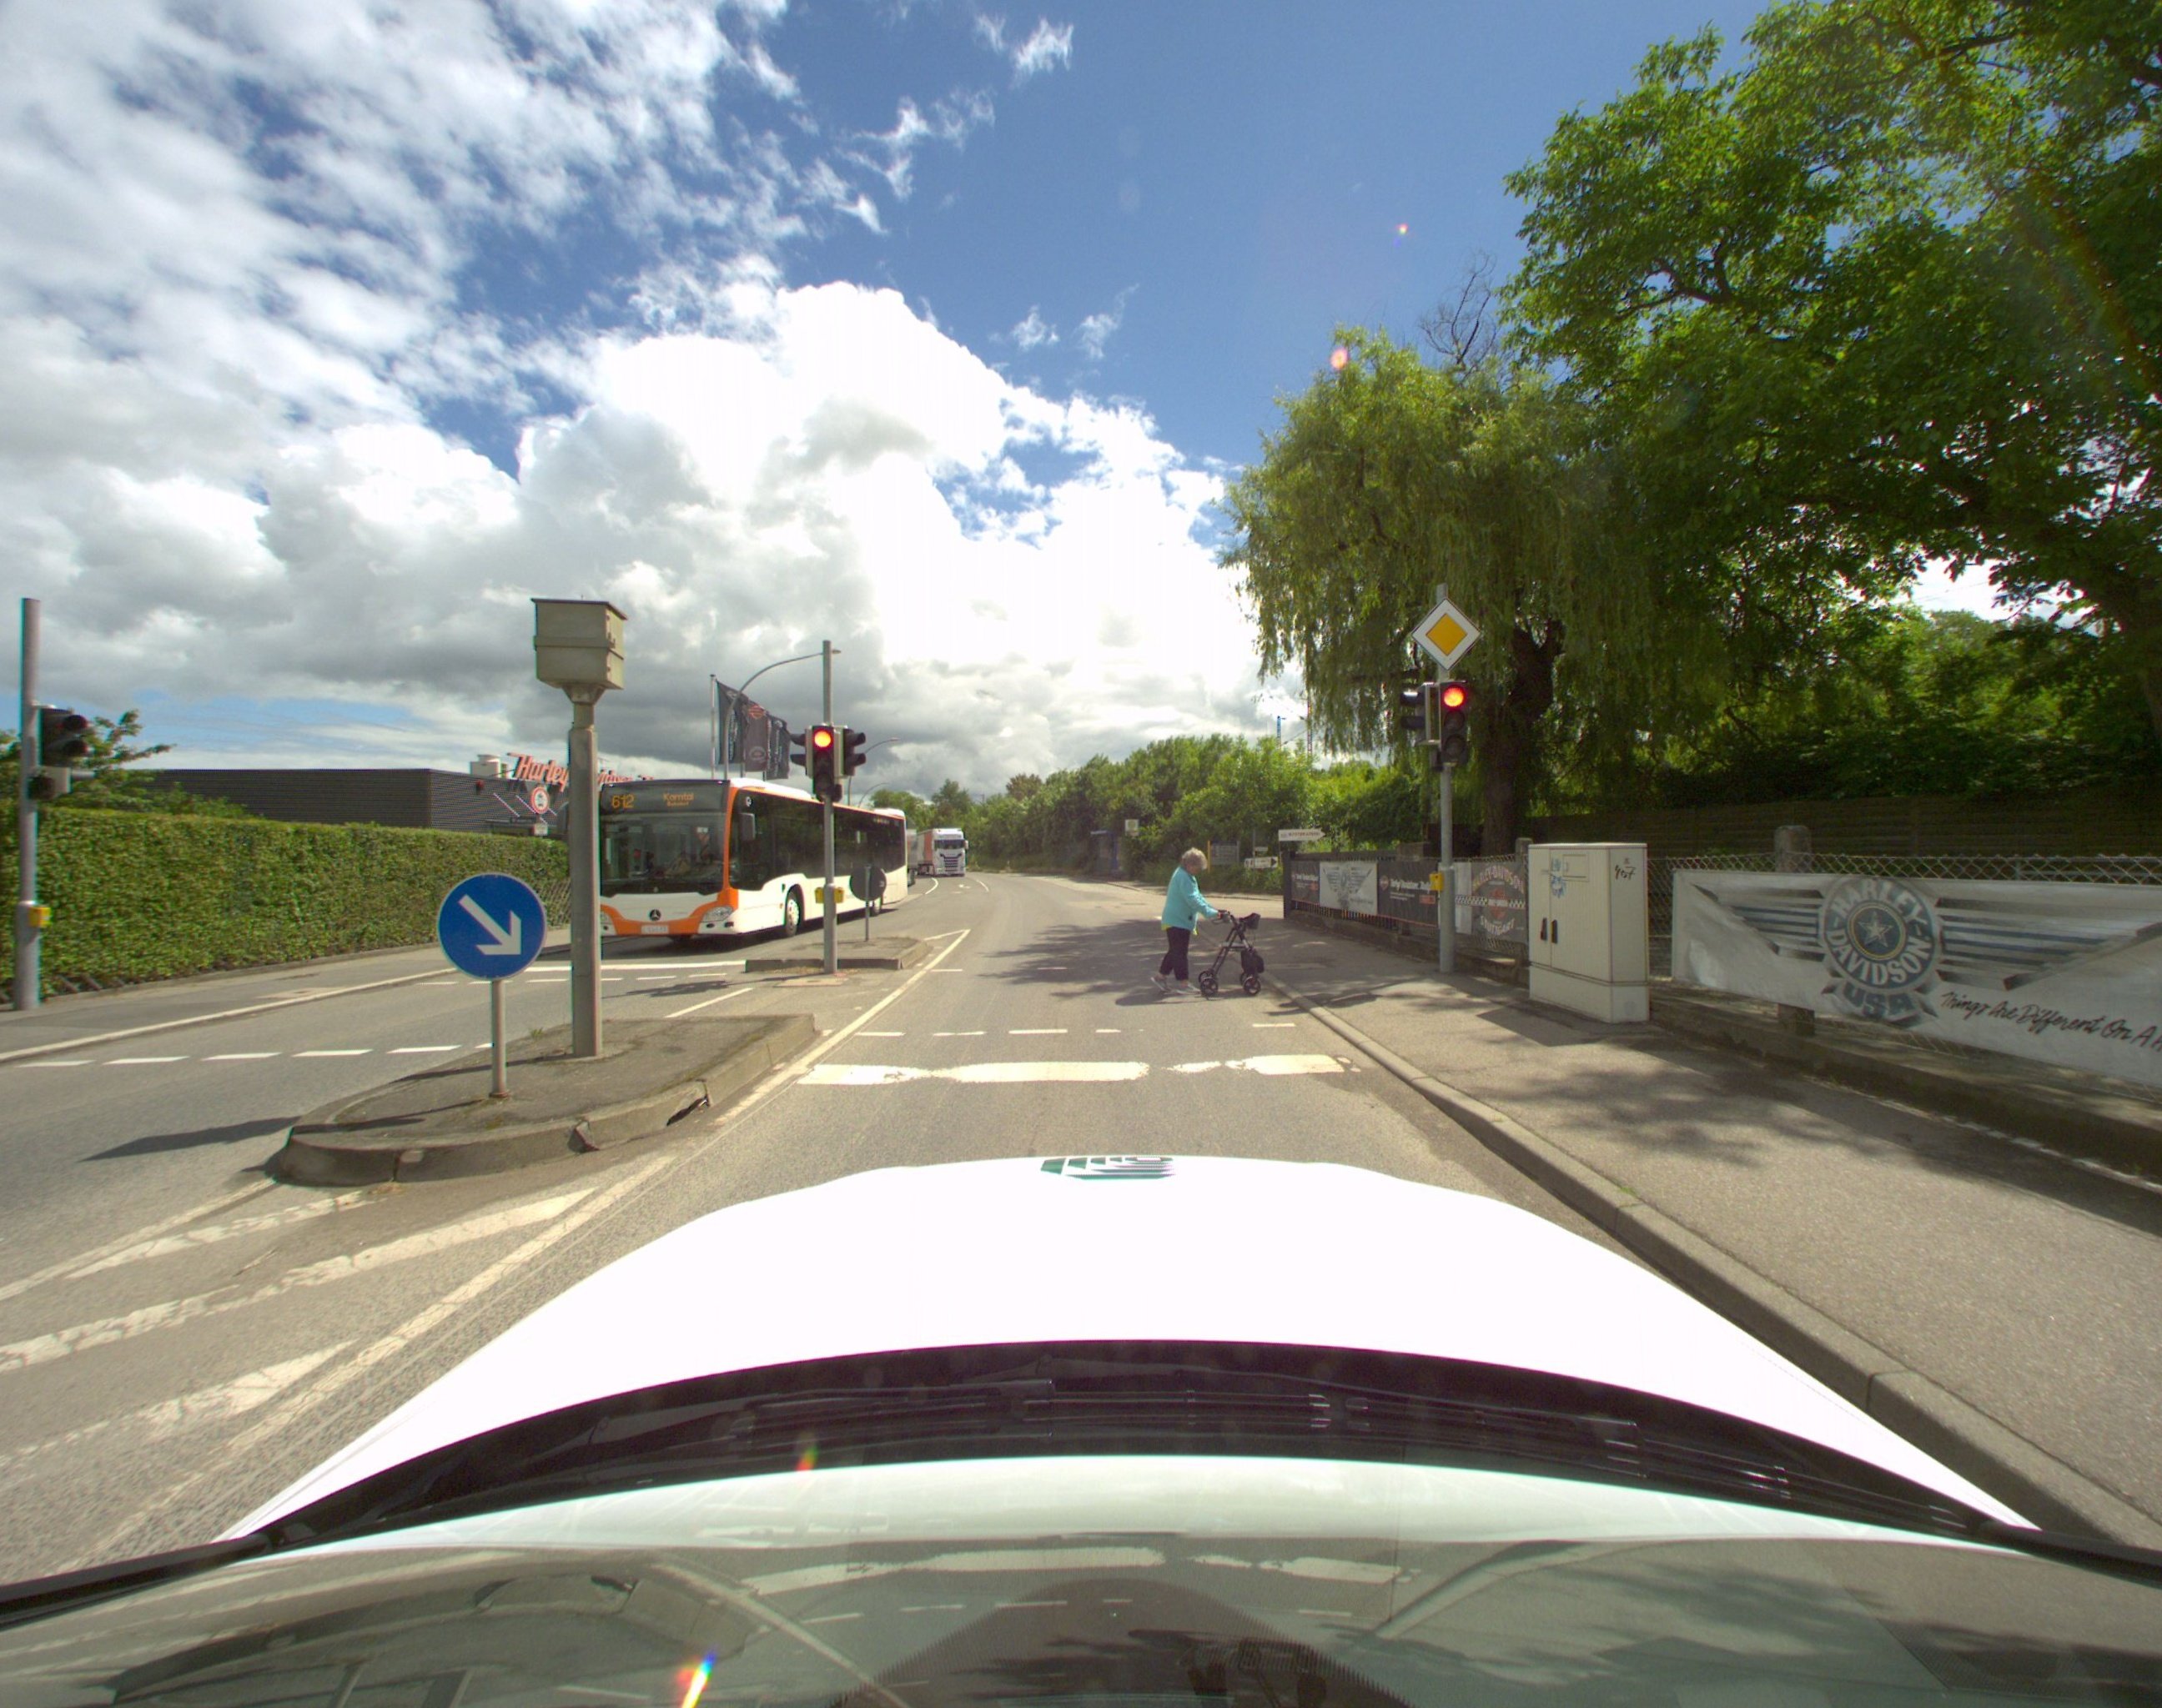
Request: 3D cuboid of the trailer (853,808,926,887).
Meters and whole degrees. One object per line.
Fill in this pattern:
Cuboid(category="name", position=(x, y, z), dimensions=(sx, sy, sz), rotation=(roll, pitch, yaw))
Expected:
Cuboid(category="trailer", position=(-11.334, -0.281, 49.674), dimensions=(2.797, 4.053, 15.512), rotation=(0, 0, -8))

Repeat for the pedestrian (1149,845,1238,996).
Cuboid(category="pedestrian", position=(1.187, 0.688, 8.765), dimensions=(0.836, 1.543, 0.733), rotation=(0, -1, -2))

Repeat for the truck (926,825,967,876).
Cuboid(category="truck", position=(-11.414, -0.253, 68.625), dimensions=(2.778, 4.119, 4.957), rotation=(0, -1, -17))

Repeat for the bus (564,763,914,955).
Cuboid(category="bus", position=(-6.808, 0.130, 19.324), dimensions=(2.708, 3.031, 12.270), rotation=(-2, -1, 2))

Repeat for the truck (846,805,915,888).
Cuboid(category="truck", position=(-10.438, -0.342, 42.964), dimensions=(2.797, 4.053, 6.483), rotation=(0, -1, -8))

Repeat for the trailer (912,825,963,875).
Cuboid(category="trailer", position=(-13.488, -0.295, 75.229), dimensions=(2.778, 4.145, 15.261), rotation=(0, -1, -17))

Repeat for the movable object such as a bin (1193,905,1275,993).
Cuboid(category="movable object such as a bin", position=(1.631, 1.003, 8.777), dimensions=(0.744, 0.871, 0.670), rotation=(0, -1, -2))
